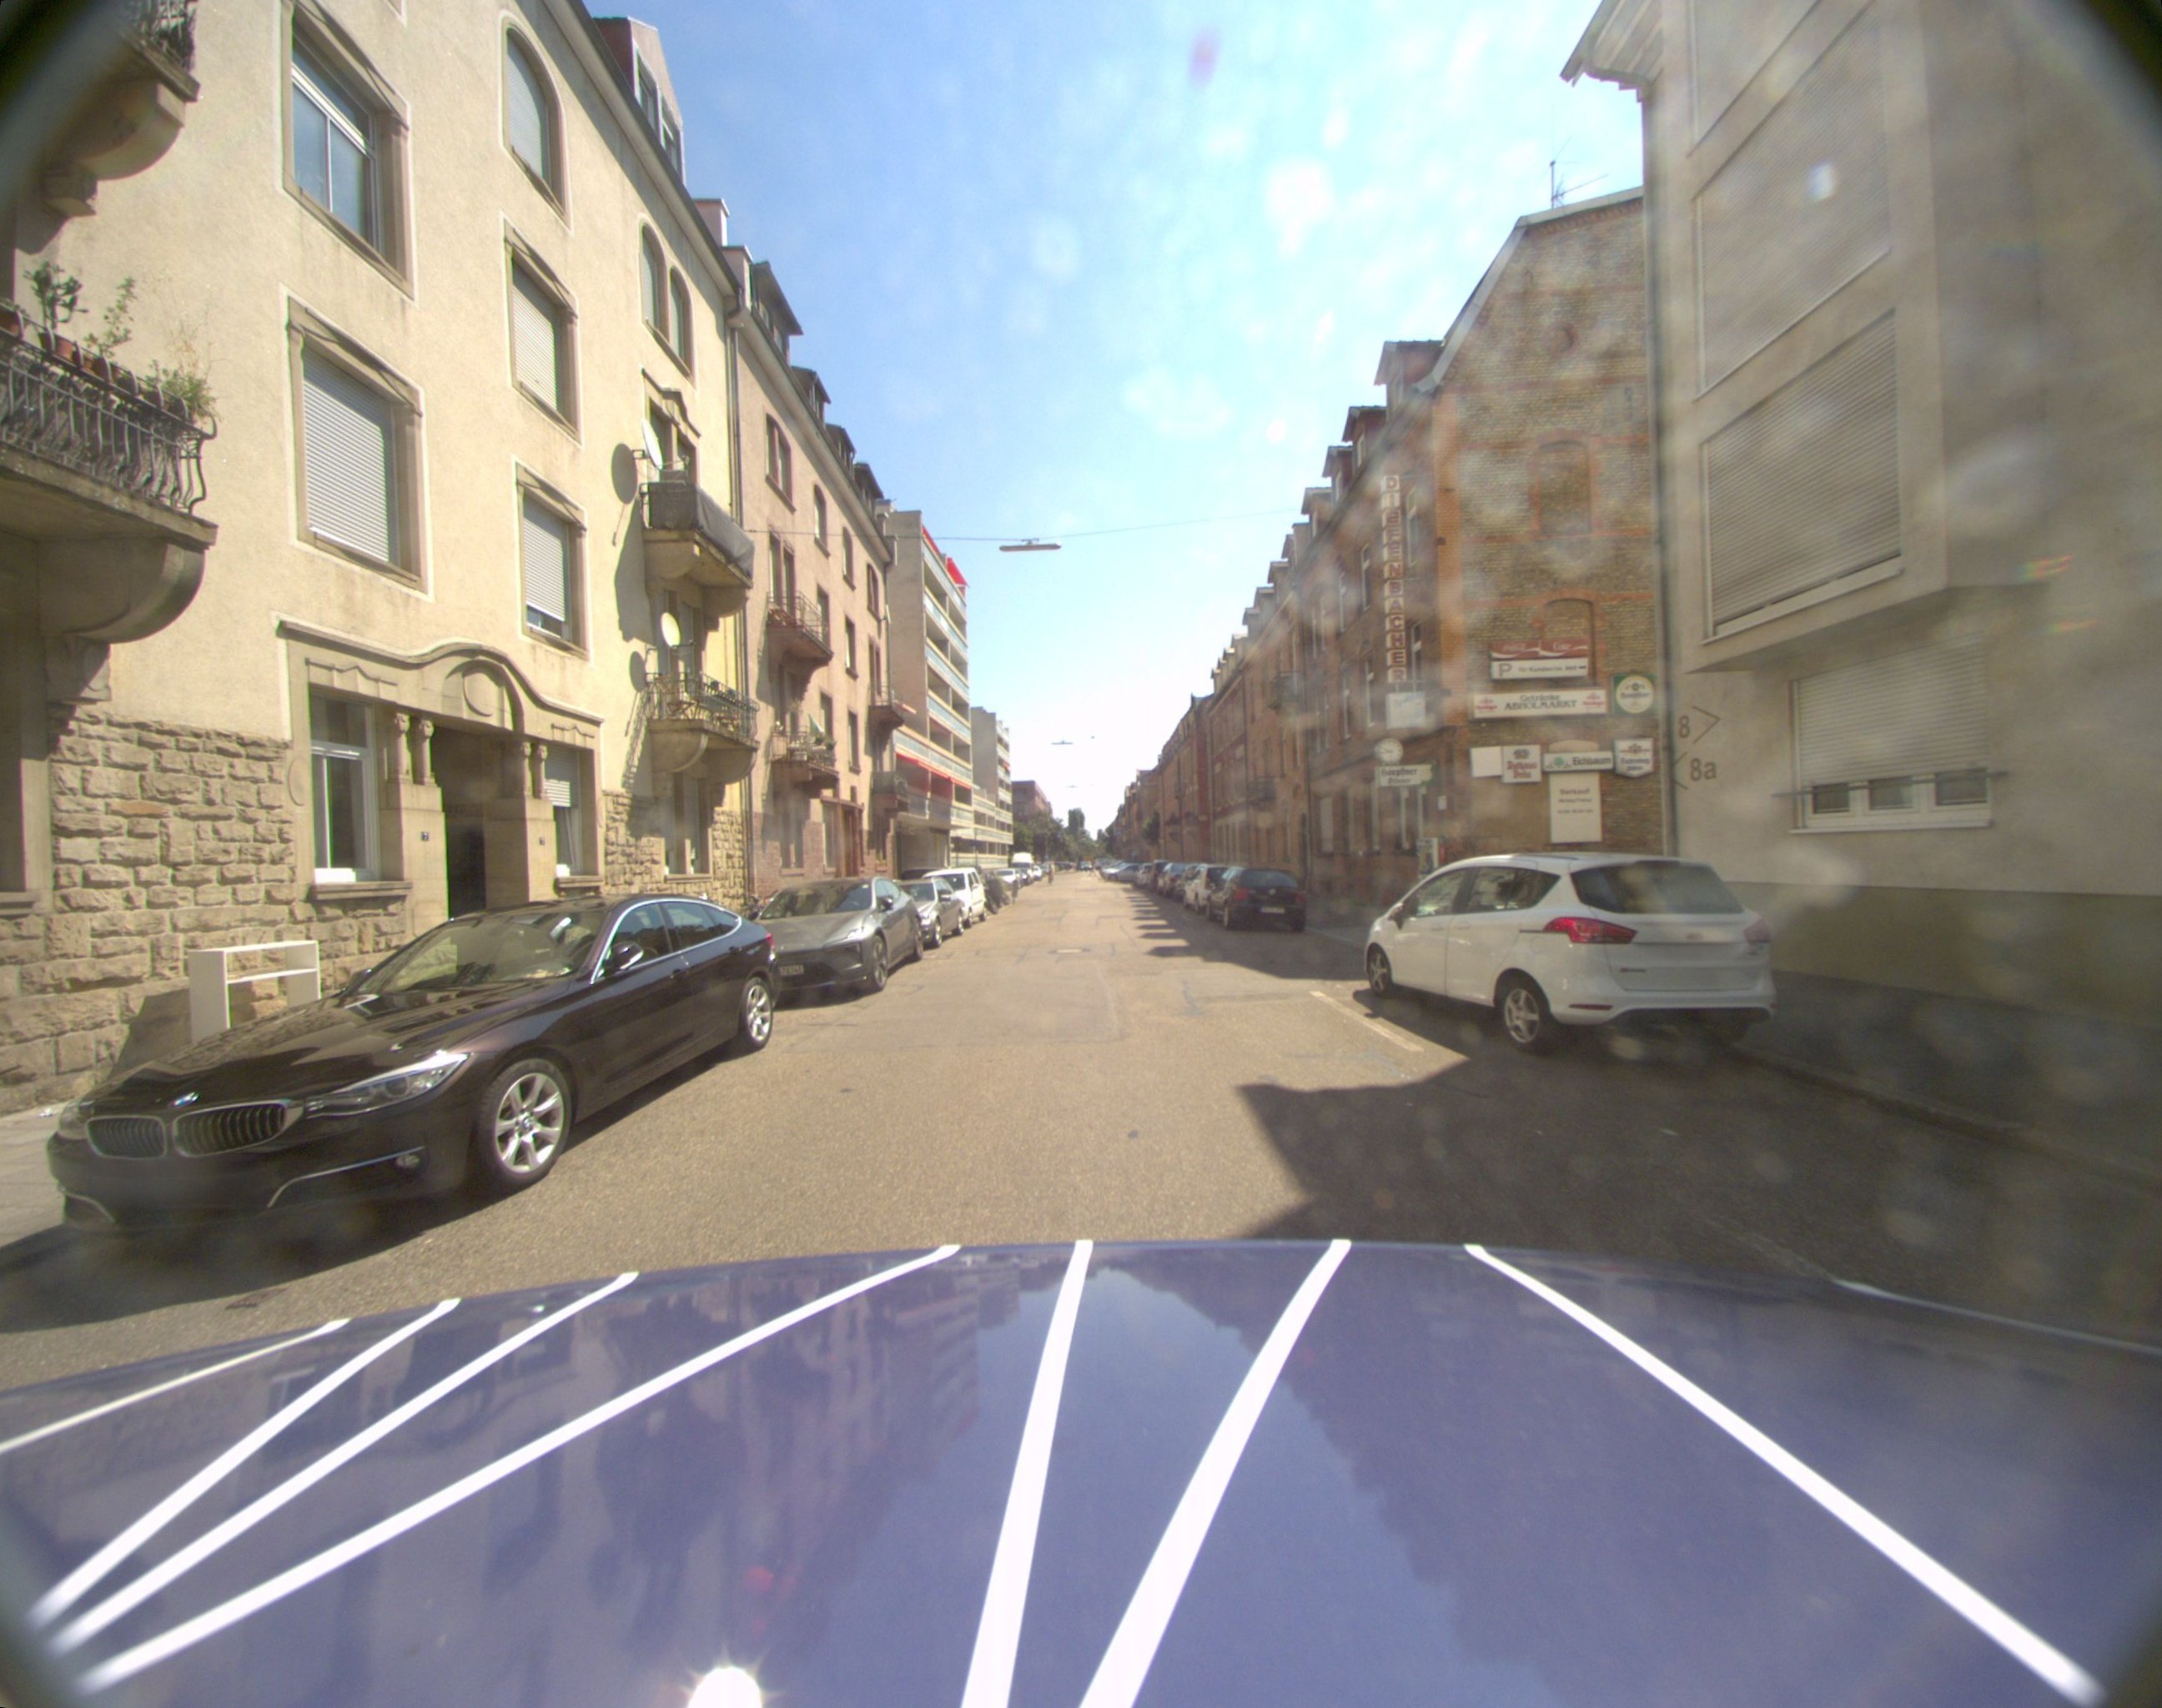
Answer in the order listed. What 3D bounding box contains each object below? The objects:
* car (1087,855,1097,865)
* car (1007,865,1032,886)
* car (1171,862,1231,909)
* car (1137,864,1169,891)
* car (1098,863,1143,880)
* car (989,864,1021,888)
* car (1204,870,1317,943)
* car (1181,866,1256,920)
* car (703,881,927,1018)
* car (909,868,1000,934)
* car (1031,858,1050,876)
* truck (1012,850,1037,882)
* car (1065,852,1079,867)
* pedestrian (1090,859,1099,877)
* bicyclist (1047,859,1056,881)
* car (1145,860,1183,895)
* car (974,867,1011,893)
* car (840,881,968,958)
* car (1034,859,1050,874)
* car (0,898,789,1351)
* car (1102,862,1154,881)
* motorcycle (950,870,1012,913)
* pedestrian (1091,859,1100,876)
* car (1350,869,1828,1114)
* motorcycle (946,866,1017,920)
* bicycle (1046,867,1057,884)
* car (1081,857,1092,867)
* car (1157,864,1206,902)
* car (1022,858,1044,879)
[{"bbox_3d":[2.319,1.278,157.049,1.785,2.002,4.001,-2,0,3],"label":"car"},{"bbox_3d":[-4.989,1.716,61.930,1.717,1.543,4.000,-1,0,0],"label":"car"},{"bbox_3d":[4.328,1.118,27.911,1.450,1.534,3.525,2,0,-3],"label":"car"},{"bbox_3d":[4.077,1.296,43.392,1.450,1.391,3.526,2,0,0],"label":"car"},{"bbox_3d":[3.636,1.594,70.421,3.997,1.491,1.652,-1,0,1],"label":"car"},{"bbox_3d":[-5.125,1.503,51.897,1.754,1.484,3.903,-1,0,0],"label":"car"},{"bbox_3d":[4.109,1.151,17.998,1.781,1.421,3.837,2,0,1],"label":"car"},{"bbox_3d":[4.076,1.120,23.041,1.632,1.421,3.678,2,0,1],"label":"car"},{"bbox_3d":[-3.595,1.210,11.222,1.828,1.423,4.489,-2,0,-2],"label":"car"},{"bbox_3d":[-3.528,1.259,21.905,1.652,1.612,4.093,-1,0,4],"label":"car"},{"bbox_3d":[-4.836,1.522,90.962,1.902,2.002,4.000,-1,0,0],"label":"car"},{"bbox_3d":[-5.026,1.042,68.269,1.869,2.715,4.508,-1,0,0],"label":"truck"},{"bbox_3d":[-1.309,0.799,110.032,1.826,2.002,3.867,-1,0,0],"label":"car"},{"bbox_3d":[1.507,1.488,81.810,0.883,1.823,0.874,-2,0,1],"label":"pedestrian"},{"bbox_3d":[-2.223,1.215,57.244,0.645,1.640,0.622,-1,0,0],"label":"bicyclist"},{"bbox_3d":[4.165,1.155,38.456,1.450,1.633,3.525,2,0,-1],"label":"car"},{"bbox_3d":[-5.443,1.590,47.185,1.754,1.484,3.903,-1,0,0],"label":"car"},{"bbox_3d":[-3.736,1.334,16.865,1.791,1.350,4.352,-1,-1,0],"label":"car"},{"bbox_3d":[-5.031,1.559,98.444,1.793,1.844,4.000,-1,0,0],"label":"car"},{"bbox_3d":[-3.797,1.186,5.261,1.741,1.449,4.668,-1,0,0],"label":"car"},{"bbox_3d":[3.690,1.379,60.121,3.997,1.422,1.678,-1,0,1],"label":"car"},{"bbox_3d":[-3.833,1.443,29.295,2.197,1.421,0.733,-6,1,-40],"label":"motorcycle"},{"bbox_3d":[1.554,1.488,82.413,0.883,1.823,0.874,-2,0,1],"label":"pedestrian"},{"bbox_3d":[4.112,0.973,7.031,1.633,1.540,3.852,2,0,-4],"label":"car"},{"bbox_3d":[-3.387,1.314,26.003,2.197,1.613,0.764,-6,1,-41],"label":"motorcycle"},{"bbox_3d":[-2.215,1.621,57.172,0.671,1.169,2.094,-1,0,1],"label":"bicycle"},{"bbox_3d":[0.839,1.247,118.921,1.625,1.600,3.597,-1,0,0],"label":"car"},{"bbox_3d":[4.198,1.181,32.257,1.450,1.464,3.525,2,0,-2],"label":"car"},{"bbox_3d":[-4.644,1.382,74.134,1.902,2.002,4.000,-1,0,0],"label":"car"}]
